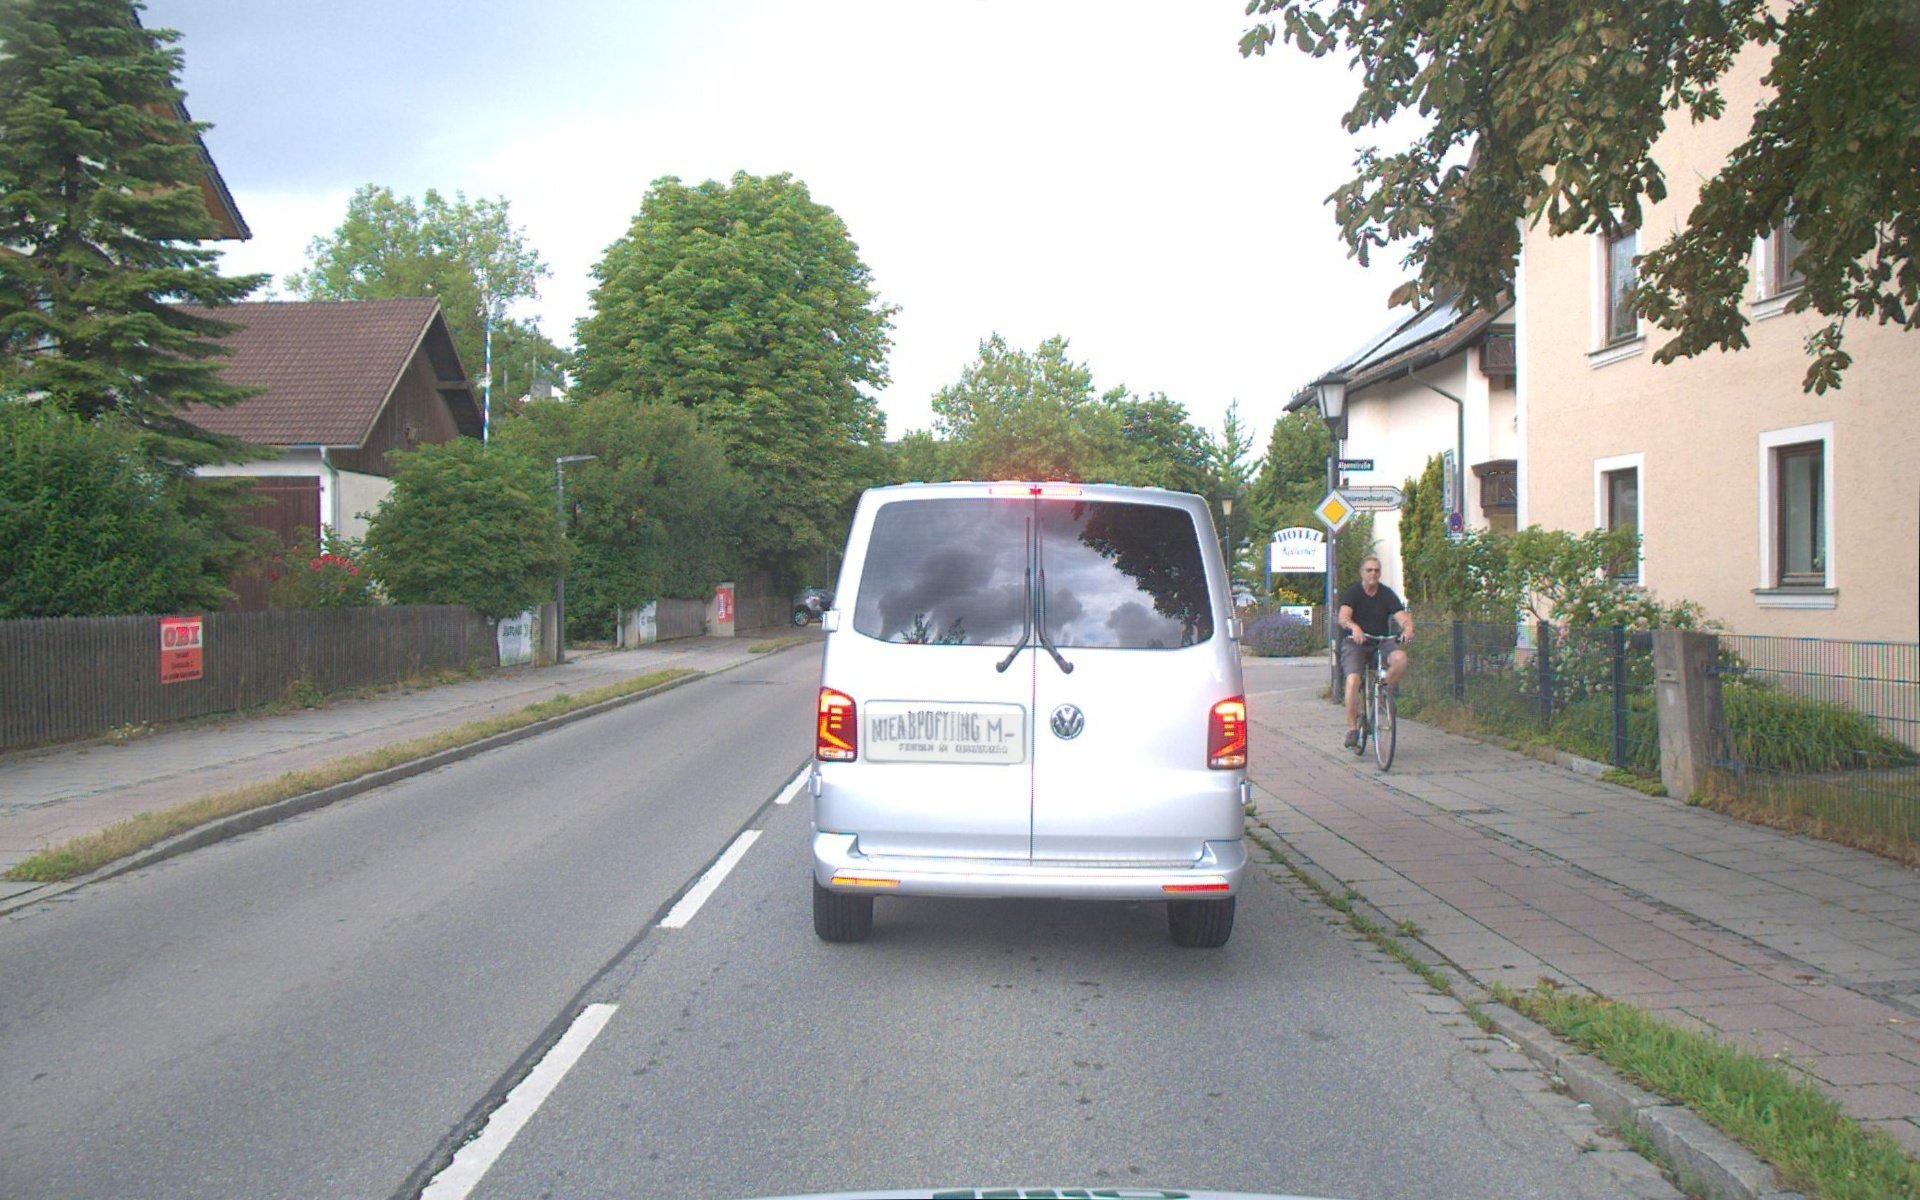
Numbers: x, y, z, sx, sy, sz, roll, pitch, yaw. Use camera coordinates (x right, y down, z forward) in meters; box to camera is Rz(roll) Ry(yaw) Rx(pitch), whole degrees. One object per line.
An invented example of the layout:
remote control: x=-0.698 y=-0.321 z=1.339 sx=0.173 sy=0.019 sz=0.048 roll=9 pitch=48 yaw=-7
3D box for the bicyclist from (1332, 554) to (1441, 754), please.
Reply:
bicyclist: x=3.662 y=0.448 z=14.254 sx=0.721 sy=1.661 sz=0.890 roll=0 pitch=0 yaw=1

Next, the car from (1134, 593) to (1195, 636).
car: x=7.703 y=0.507 z=62.108 sx=1.841 sy=1.562 sz=3.924 roll=0 pitch=0 yaw=13

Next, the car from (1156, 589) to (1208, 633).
car: x=9.311 y=0.439 z=69.074 sx=1.841 sy=1.779 sz=4.084 roll=0 pitch=0 yaw=12

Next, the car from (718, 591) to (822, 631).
car: x=-7.331 y=0.414 z=63.764 sx=3.913 sy=1.512 sz=1.996 roll=0 pitch=0 yaw=-9

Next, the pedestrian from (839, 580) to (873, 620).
pedestrian: x=-4.825 y=-0.003 z=76.723 sx=1.301 sy=1.834 sz=1.062 roll=0 pitch=0 yaw=-23

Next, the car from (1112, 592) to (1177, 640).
car: x=6.297 y=0.503 z=56.148 sx=1.841 sy=1.562 sz=3.924 roll=0 pitch=0 yaw=11

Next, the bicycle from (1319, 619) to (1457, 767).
bicycle: x=3.668 y=0.766 z=14.328 sx=0.749 sy=1.163 sz=1.845 roll=0 pitch=0 yaw=1

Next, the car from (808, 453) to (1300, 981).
car: x=0.366 y=0.431 z=8.172 sx=1.842 sy=1.974 sz=3.921 roll=0 pitch=0 yaw=0
